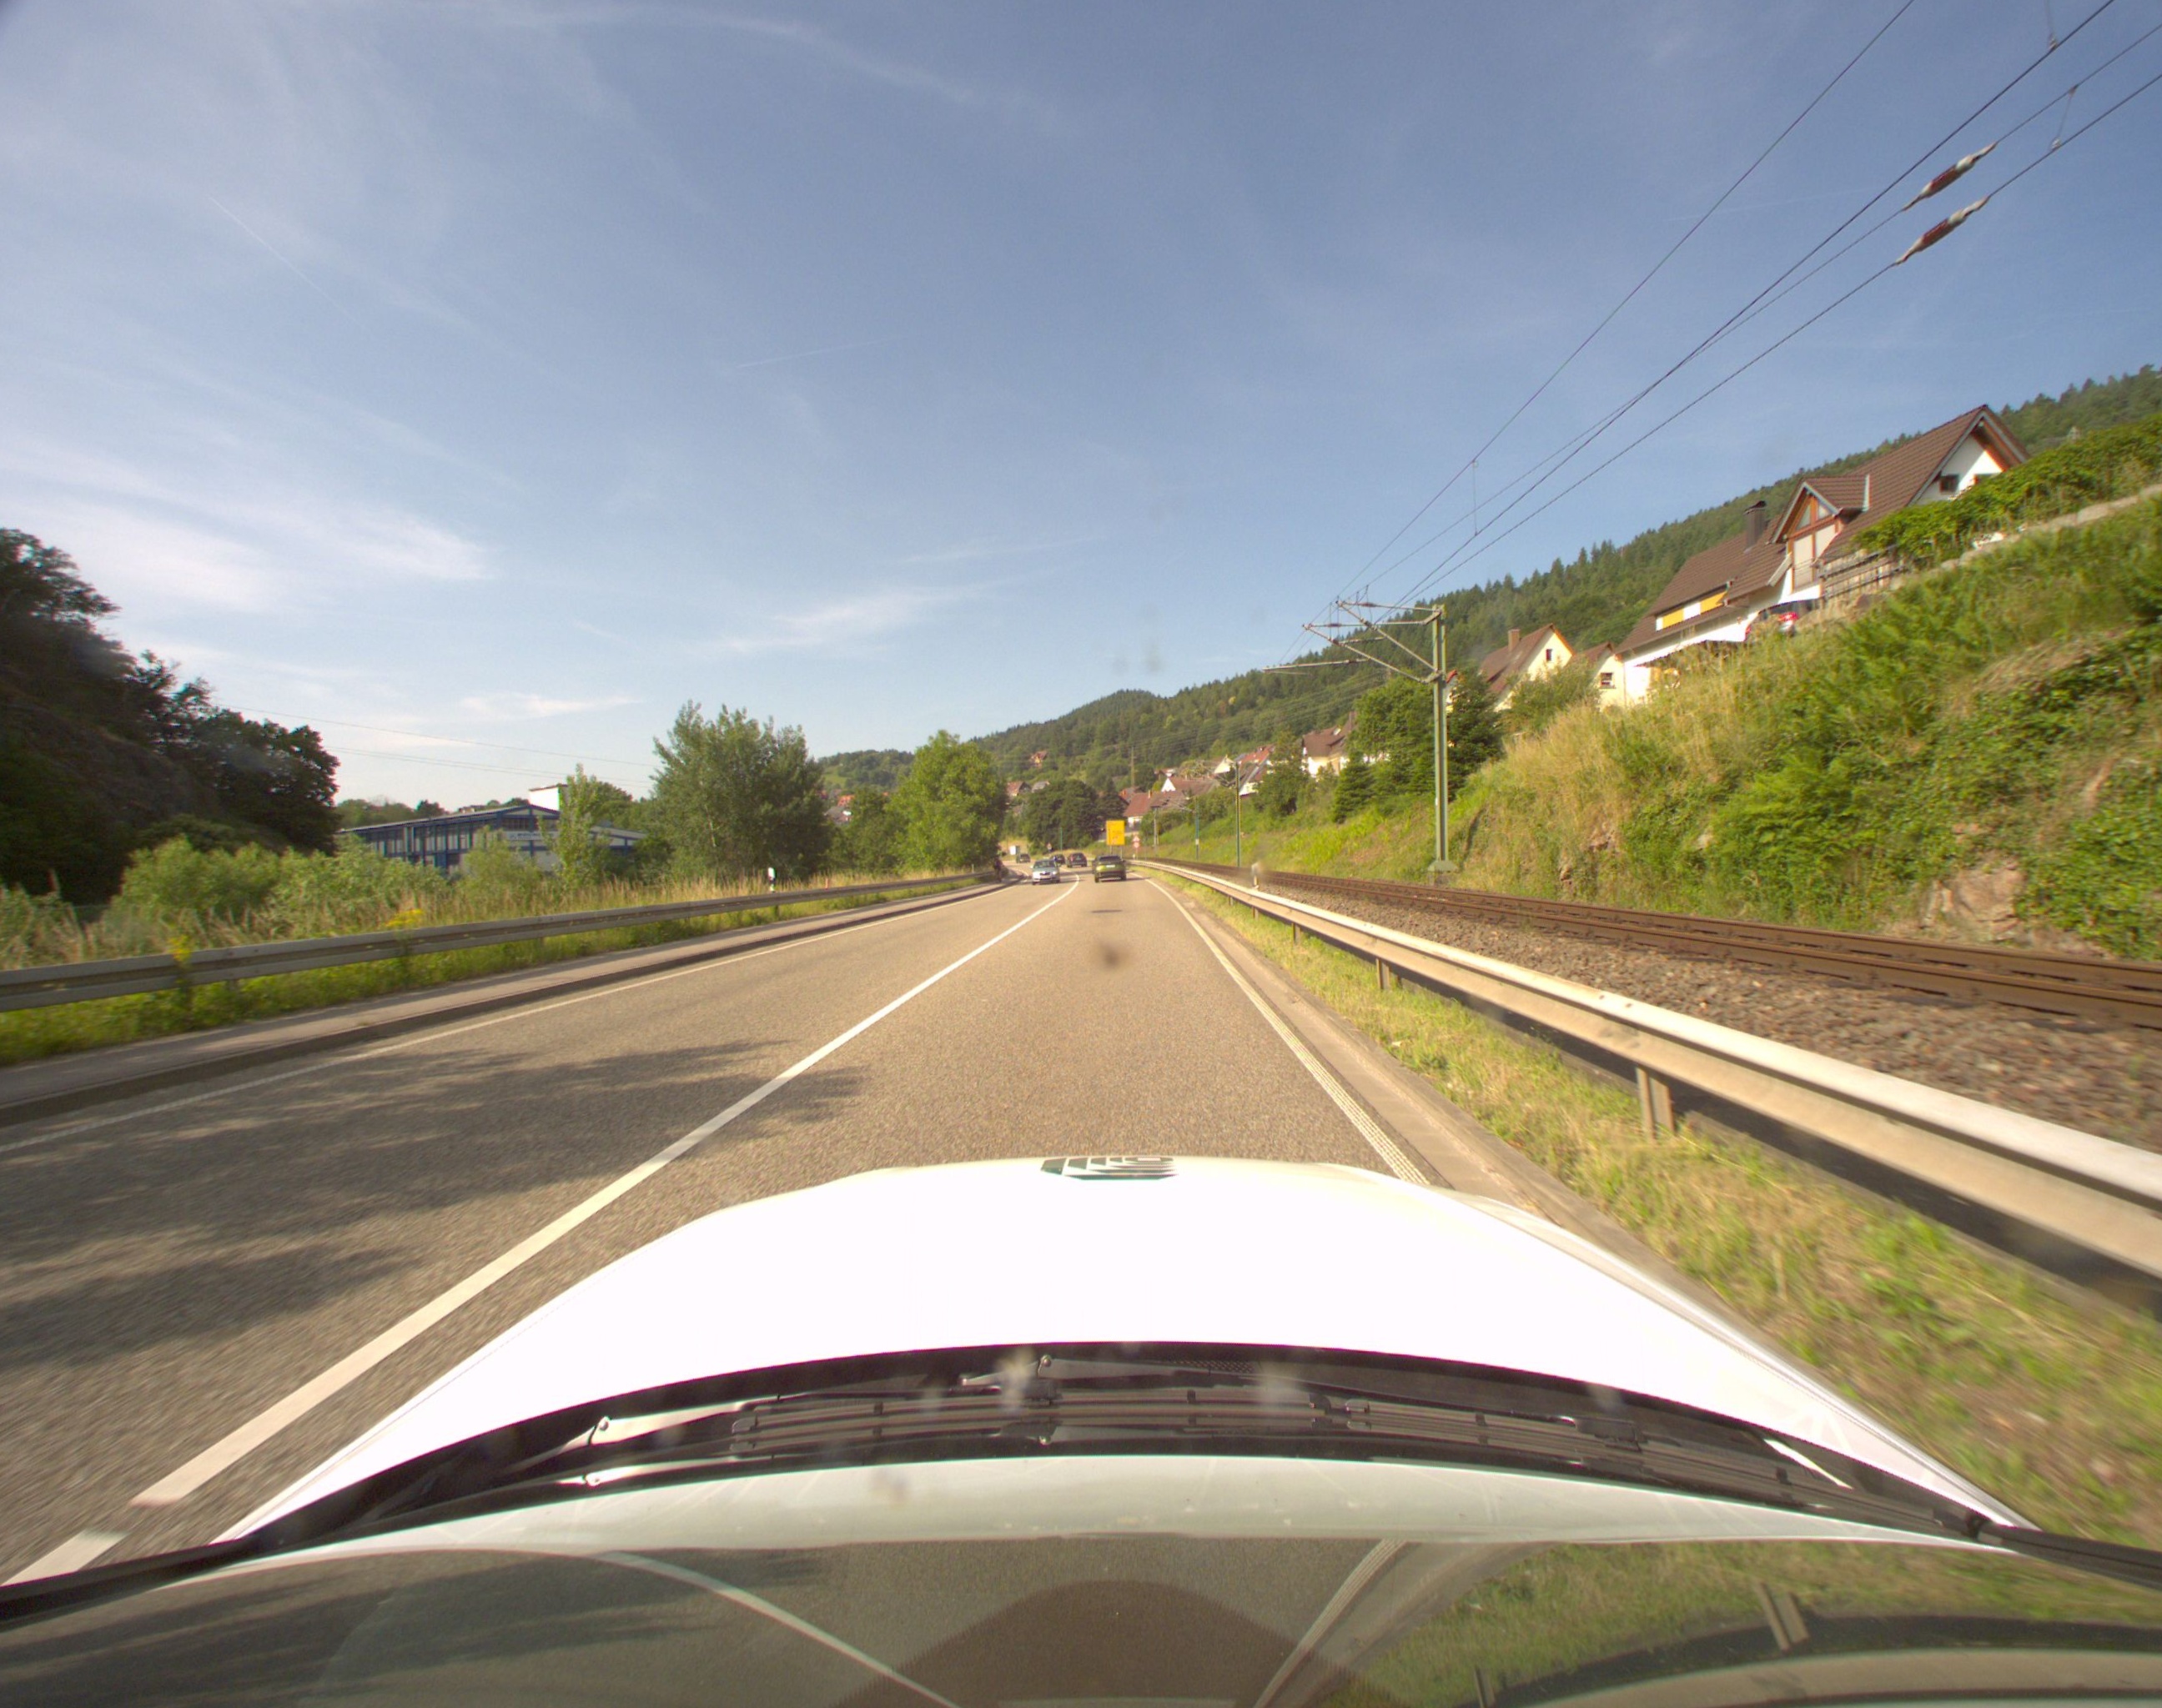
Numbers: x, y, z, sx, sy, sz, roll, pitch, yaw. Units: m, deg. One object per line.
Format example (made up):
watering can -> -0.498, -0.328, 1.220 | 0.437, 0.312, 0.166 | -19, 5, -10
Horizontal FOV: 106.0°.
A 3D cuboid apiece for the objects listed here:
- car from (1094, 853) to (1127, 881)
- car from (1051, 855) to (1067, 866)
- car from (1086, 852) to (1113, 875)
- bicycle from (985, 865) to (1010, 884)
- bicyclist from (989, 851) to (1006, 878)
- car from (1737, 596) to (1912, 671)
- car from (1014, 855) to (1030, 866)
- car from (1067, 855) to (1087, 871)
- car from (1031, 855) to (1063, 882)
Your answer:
car -> 1.687, 0.698, 45.703 | 1.708, 1.455, 4.003 | -3, 0, 3
car -> -3.043, 0.868, 110.596 | 1.848, 1.527, 3.652 | 0, 0, -8
car -> 1.309, 0.670, 59.832 | 1.663, 1.559, 3.996 | -2, 0, -3
bicycle -> -5.125, 1.246, 50.043 | 0.552, 1.045, 2.241 | 1, 0, 23
bicyclist -> -5.117, 0.640, 50.037 | 0.552, 1.586, 1.041 | 1, 0, 23
car -> 21.790, -6.445, 23.966 | 3.734, 1.540, 1.749 | 1, -2, -5
car -> -10.416, 1.162, 144.204 | 2.067, 1.811, 3.978 | -1, -1, -16
car -> -0.472, 0.923, 89.497 | 1.877, 1.686, 3.993 | -1, 0, -5
car -> -2.013, 0.840, 48.865 | 1.571, 1.479, 4.002 | -1, 0, 2
